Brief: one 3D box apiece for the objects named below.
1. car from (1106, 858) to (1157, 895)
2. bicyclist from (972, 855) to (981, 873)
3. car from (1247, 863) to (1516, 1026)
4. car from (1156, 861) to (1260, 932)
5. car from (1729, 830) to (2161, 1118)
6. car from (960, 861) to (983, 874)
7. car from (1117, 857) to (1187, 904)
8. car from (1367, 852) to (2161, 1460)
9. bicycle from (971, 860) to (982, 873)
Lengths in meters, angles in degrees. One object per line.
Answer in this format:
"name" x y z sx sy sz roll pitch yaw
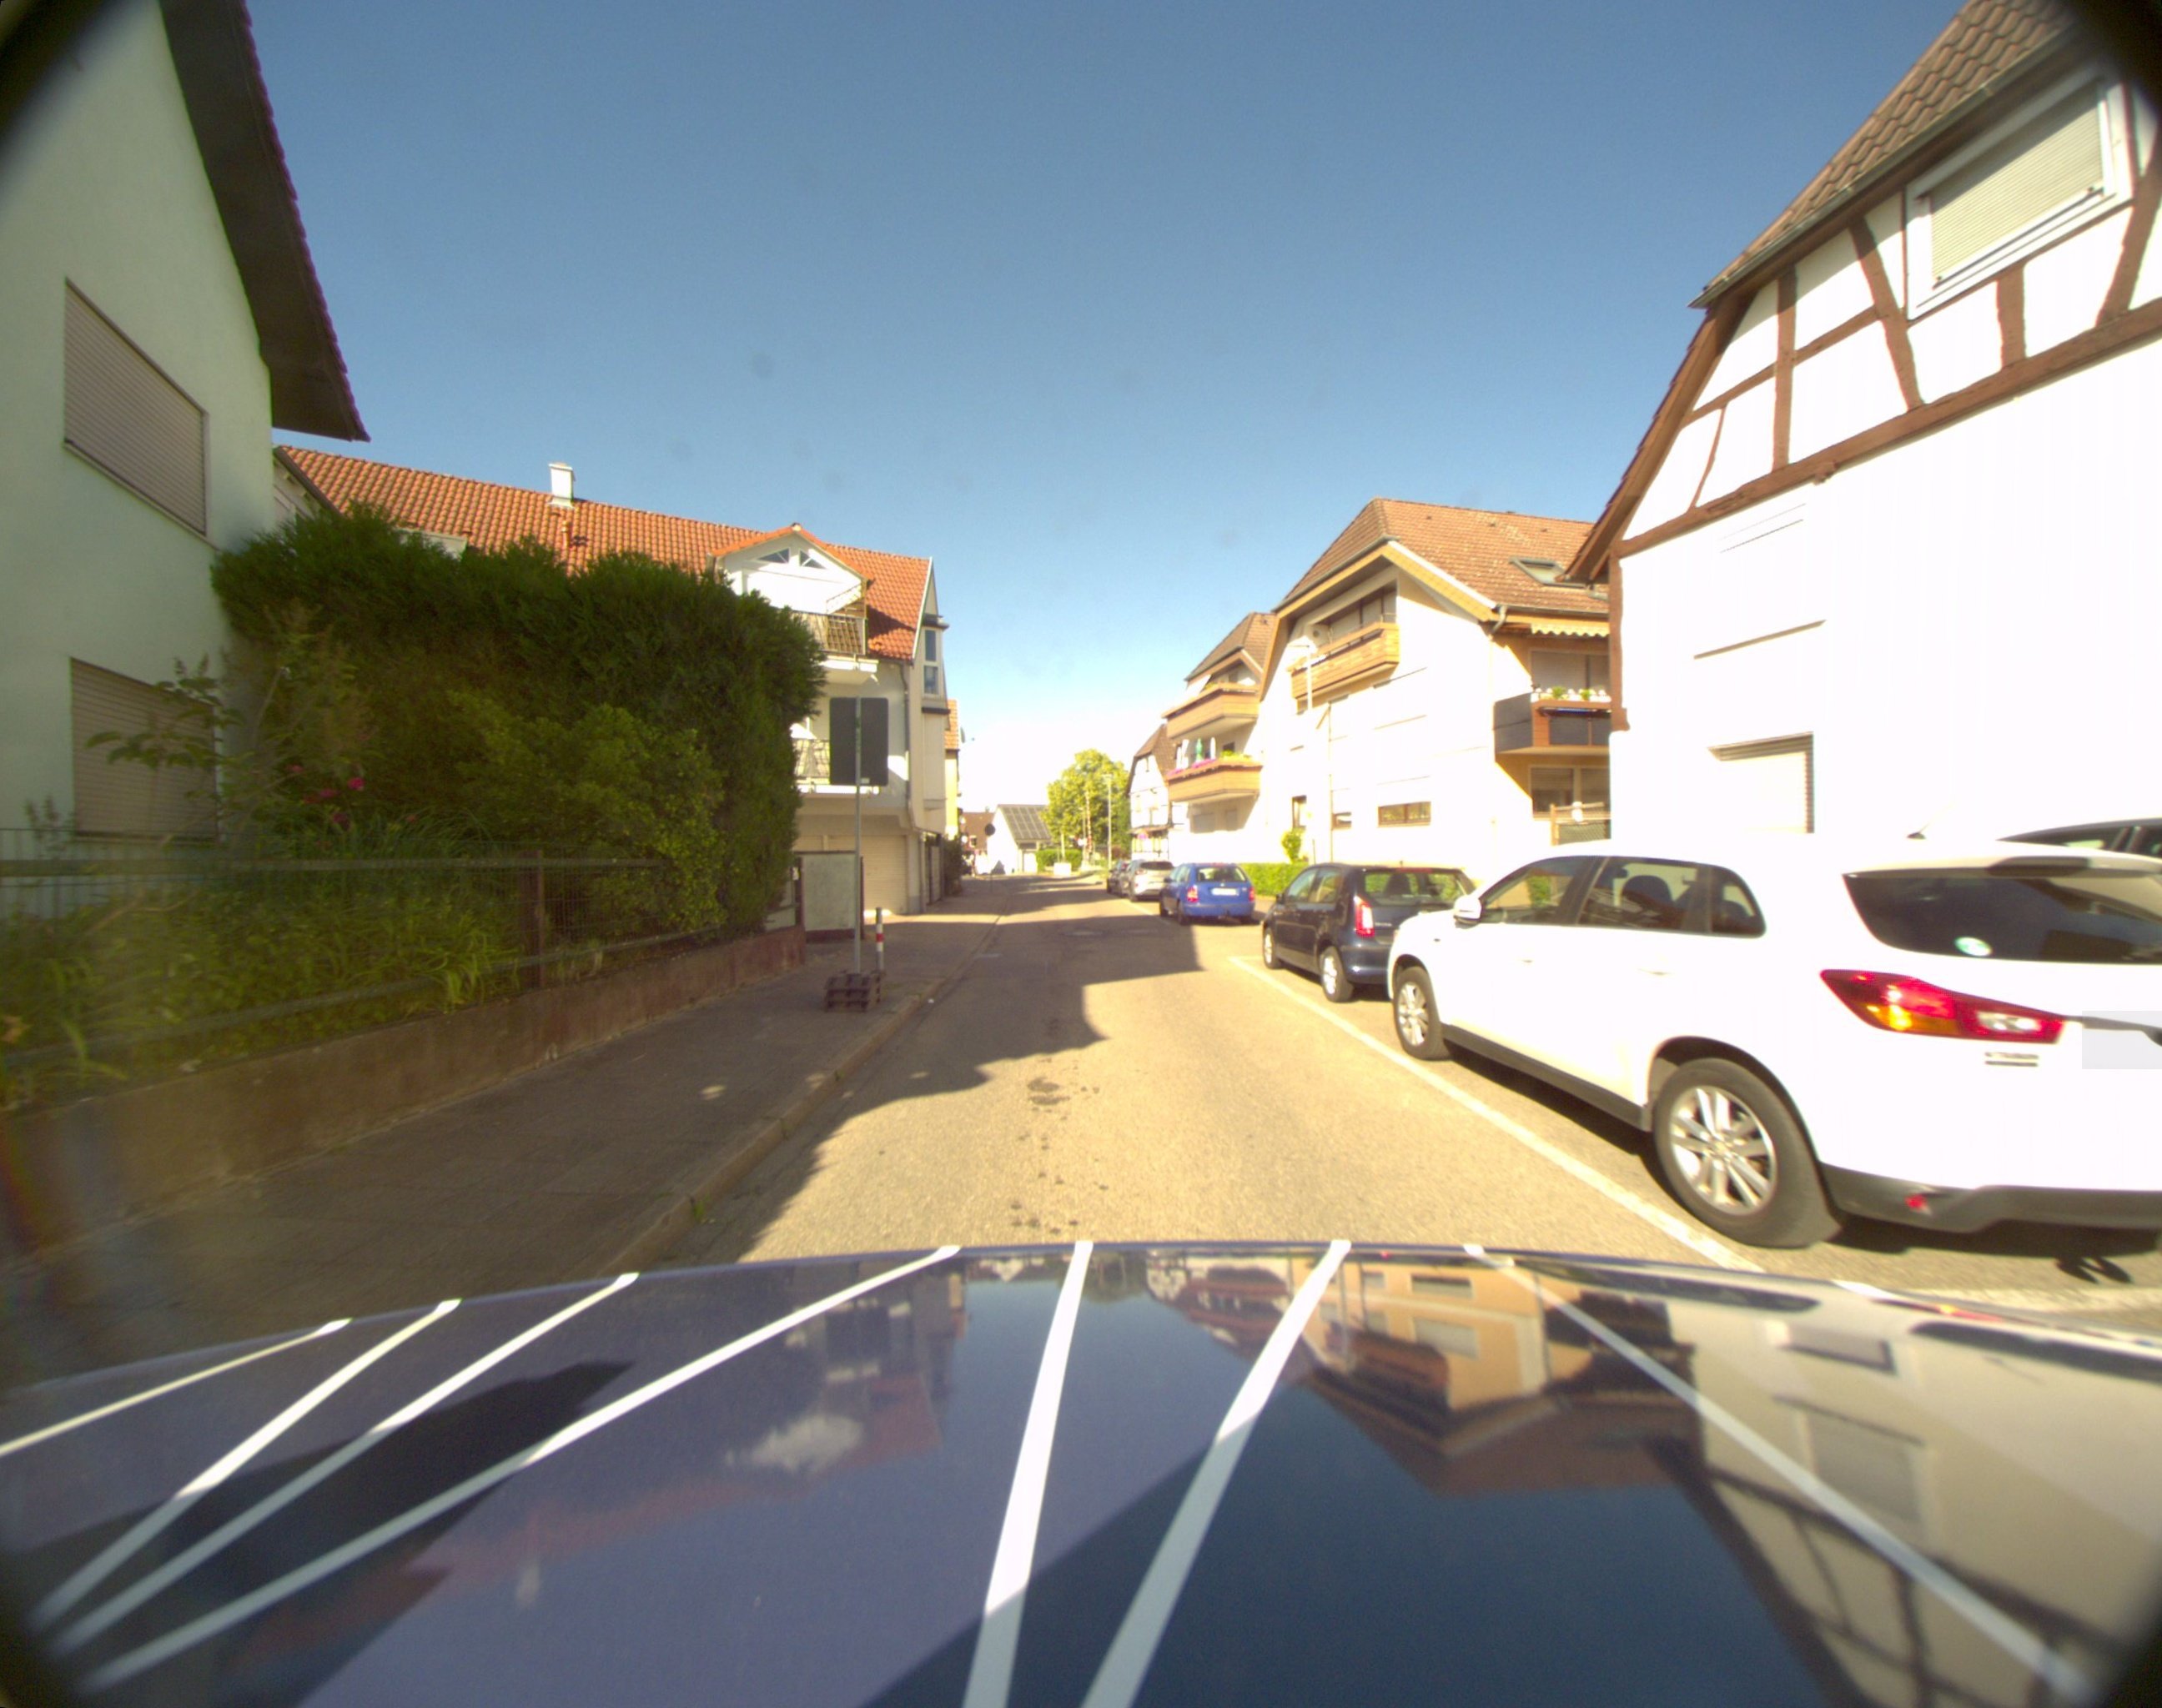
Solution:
"car" 2.068 0.909 32.170 1.628 1.468 3.614 0 0 -5
"bicyclist" -9.984 0.985 72.724 0.644 1.655 0.604 5 1 -15
"car" 3.264 0.877 9.056 1.660 1.498 3.683 0 0 -2
"car" 2.903 0.924 18.178 1.623 1.431 3.955 -1 0 -3
"car" 6.695 0.643 4.671 1.647 1.577 4.110 -1 0 -6
"car" -12.402 1.537 85.872 1.549 1.450 3.708 -1 0 -24
"car" 2.432 0.874 26.918 1.764 1.547 3.998 0 0 -5
"car" 3.231 0.805 4.098 1.727 1.609 4.111 0 0 -2
"bicycle" -10.016 1.192 72.850 0.640 1.175 2.018 -1 0 -18
